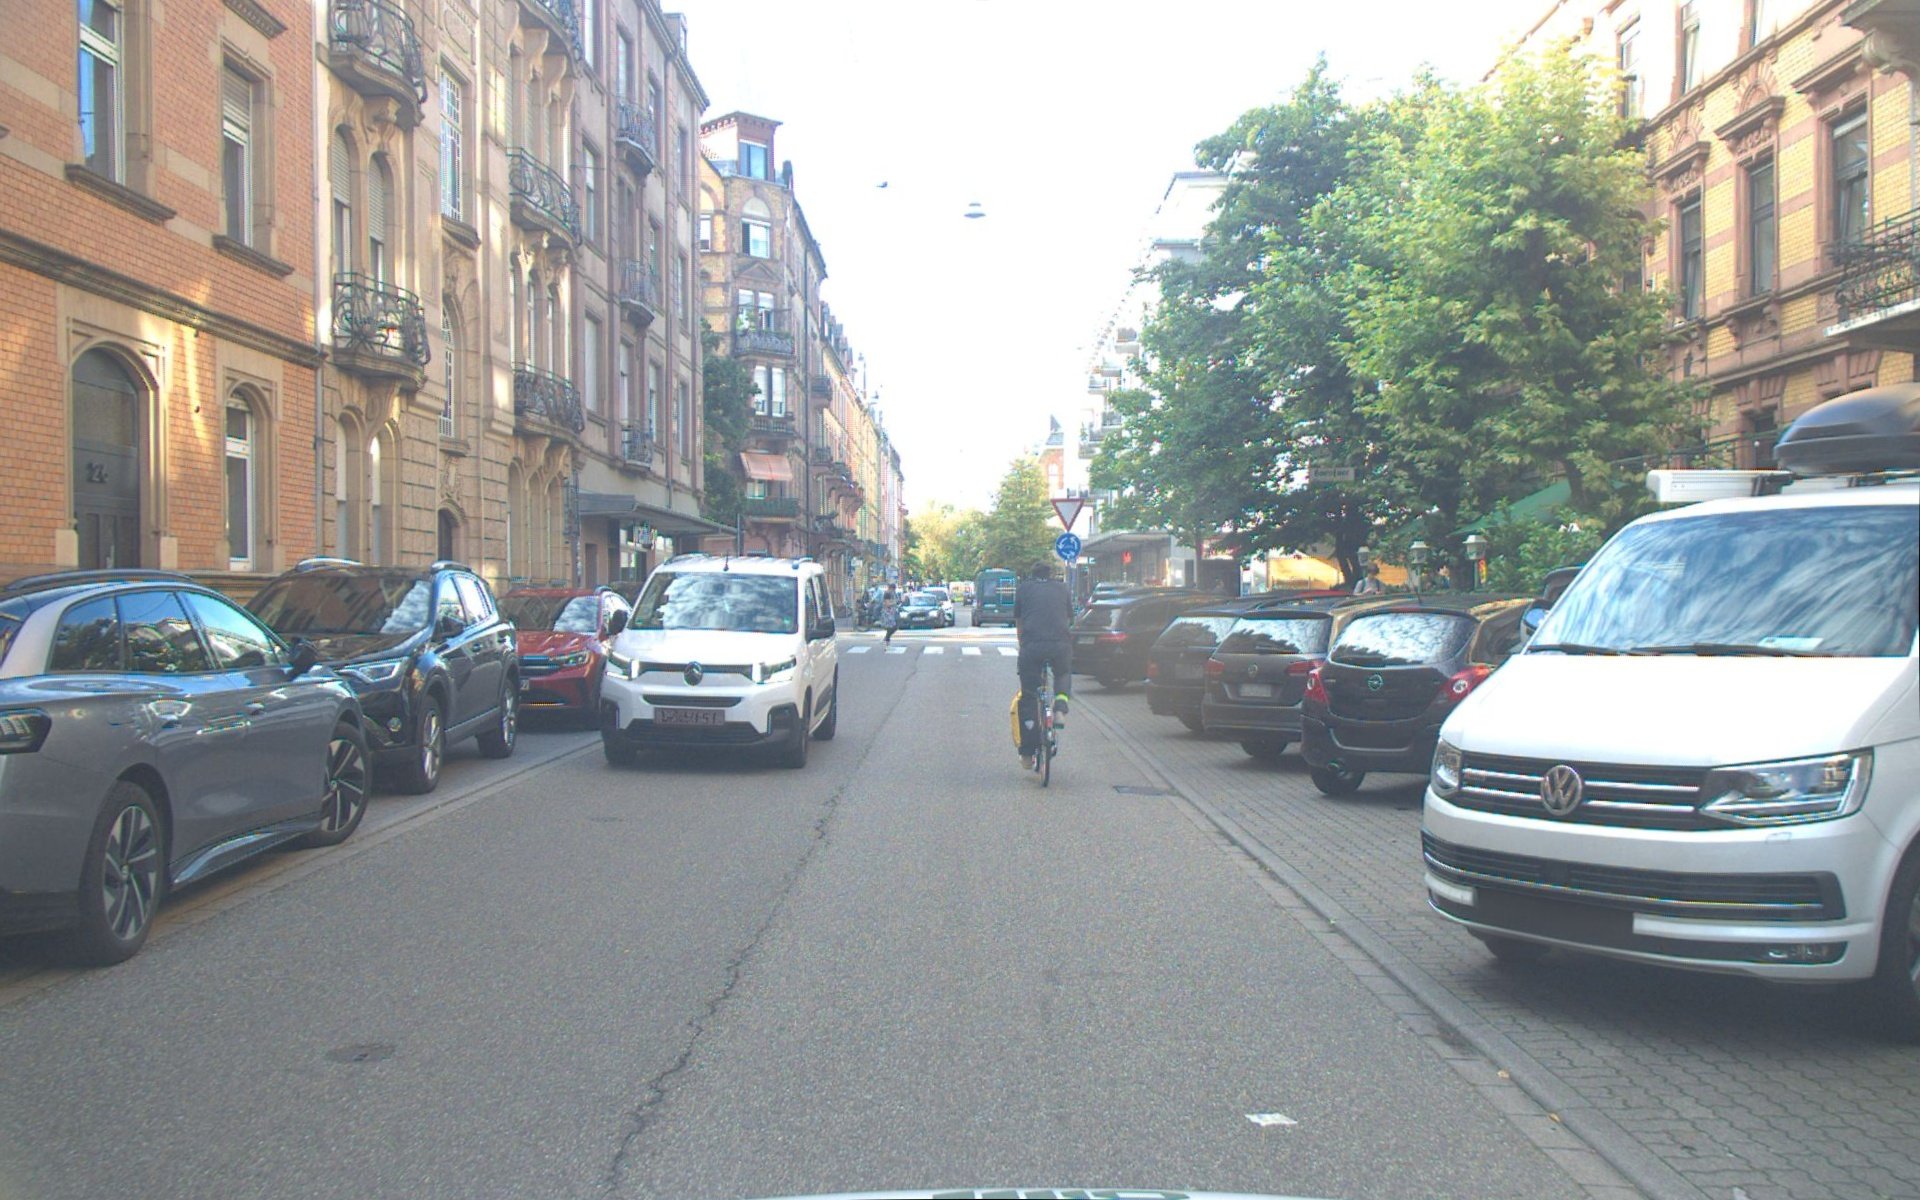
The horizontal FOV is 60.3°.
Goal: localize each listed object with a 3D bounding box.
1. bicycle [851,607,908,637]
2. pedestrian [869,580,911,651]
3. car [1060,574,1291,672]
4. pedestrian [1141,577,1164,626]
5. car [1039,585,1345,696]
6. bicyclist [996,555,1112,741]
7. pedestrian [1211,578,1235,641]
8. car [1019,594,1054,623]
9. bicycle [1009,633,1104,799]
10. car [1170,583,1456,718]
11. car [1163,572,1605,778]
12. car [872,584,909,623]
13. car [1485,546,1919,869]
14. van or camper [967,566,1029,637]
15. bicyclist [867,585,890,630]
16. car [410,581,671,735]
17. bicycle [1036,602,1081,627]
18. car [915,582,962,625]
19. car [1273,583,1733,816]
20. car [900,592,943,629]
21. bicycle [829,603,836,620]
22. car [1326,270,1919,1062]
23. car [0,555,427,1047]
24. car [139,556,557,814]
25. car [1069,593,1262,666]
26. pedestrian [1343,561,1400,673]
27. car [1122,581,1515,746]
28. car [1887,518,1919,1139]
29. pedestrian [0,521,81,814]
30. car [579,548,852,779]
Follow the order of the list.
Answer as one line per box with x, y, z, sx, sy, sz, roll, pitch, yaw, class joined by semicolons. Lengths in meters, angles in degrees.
-3.072;0.828;62.987;2.141;1.111;0.677;1;0;-3;bicycle
-1.832;0.403;43.222;0.769;1.811;0.789;-1;0;38;pedestrian
4.339;0.421;33.160;4.288;1.673;1.806;-3;1;-26;car
7.371;0.060;63.399;0.850;1.883;0.613;-1;0;5;pedestrian
3.838;0.598;27.180;4.700;1.482;2.038;-3;2;-28;car
0.781;0.393;13.952;0.914;1.510;0.747;1;0;0;bicyclist
7.396;0.269;46.521;0.615;1.769;0.776;-1;0;12;pedestrian
3.844;0.427;83.463;1.611;1.347;3.577;-3;0;1;car
0.774;0.912;13.882;0.652;1.198;2.497;1;0;0;bicycle
4.659;0.599;21.641;3.682;1.511;1.717;-2;1;-38;car
4.163;0.603;15.856;4.428;1.502;1.862;-4;2;-40;car
-3.767;0.163;90.236;1.953;2.049;3.998;-1;0;-2;car
4.729;0.579;10.424;2.432;1.695;1.335;-4;2;-27;car
1.671;0.059;74.359;2.480;3.090;4.457;-1;0;-2;van or camper
-3.090;0.289;62.990;0.837;1.694;0.790;1;0;-3;bicyclist
-4.707;0.601;19.267;1.953;1.572;4.426;0;0;-1;car
4.361;0.629;72.974;1.959;1.063;0.532;-1;0;2;bicycle
-0.990;0.134;77.469;1.902;1.752;4.851;-2;2;2;car
4.404;0.663;13.123;3.960;1.485;1.724;-2;1;-42;car
-1.591;0.450;68.654;1.714;1.461;4.210;1;-1;-2;car
-7.177;0.642;93.138;0.353;0.963;1.714;0;0;-4;bicycle
4.140;0.156;7.329;5.097;2.447;1.896;-1;0;-34;car
-4.168;0.636;7.927;1.789;1.606;5.260;1;0;-3;car
-4.690;0.537;13.530;1.836;1.710;4.891;1;1;-4;car
4.455;0.608;35.793;3.887;1.482;1.753;-1;0;-28;car
7.114;0.292;28.640;0.821;1.911;0.723;-1;0;4;pedestrian
4.128;0.630;18.760;4.417;1.490;1.857;-3;2;-35;car
4.621;0.599;4.712;4.189;1.576;1.850;0;1;-35;car
-6.349;0.416;10.756;0.740;1.839;0.863;1;0;3;pedestrian
-2.141;0.515;15.737;1.878;1.860;4.438;1;0;0;car
